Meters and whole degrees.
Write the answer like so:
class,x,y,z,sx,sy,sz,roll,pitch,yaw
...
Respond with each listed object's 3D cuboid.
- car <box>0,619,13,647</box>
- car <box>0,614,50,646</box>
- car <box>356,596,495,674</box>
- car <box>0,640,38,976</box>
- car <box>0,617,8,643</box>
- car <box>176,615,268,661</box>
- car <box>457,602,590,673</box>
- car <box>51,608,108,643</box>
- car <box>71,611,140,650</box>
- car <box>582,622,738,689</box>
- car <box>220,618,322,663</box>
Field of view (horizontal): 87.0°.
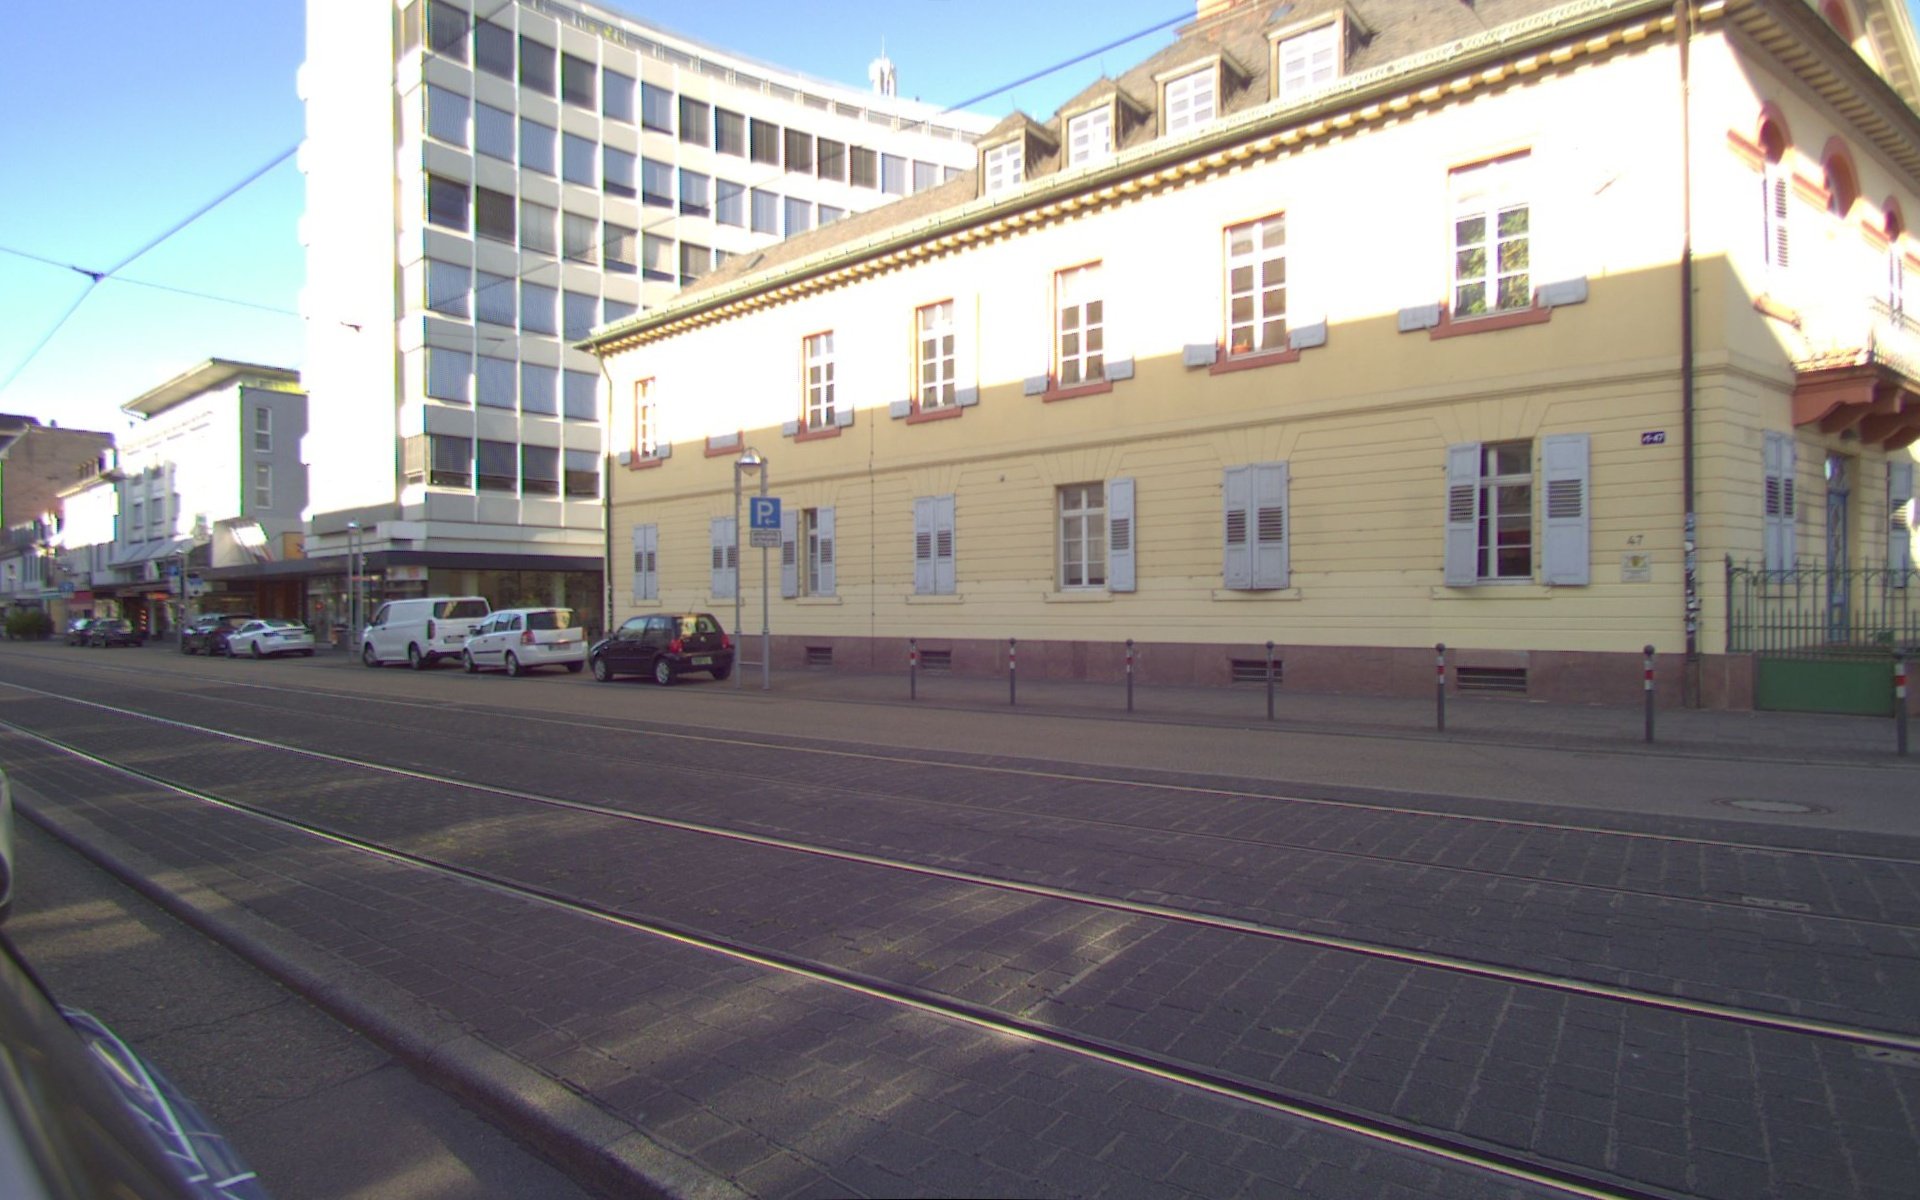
class,x,y,z,sx,sy,sz,roll,pitch,yaw
car,-71.251,2.461,74.384,3.998,2.029,1.973,-1,-1,41
car,-62.970,2.018,67.975,3.996,2.058,2.172,-1,-1,39
car,-15.354,0.970,28.952,4.619,2.029,2.014,-1,-1,41
car,-6.102,0.903,4.765,3.992,1.393,1.862,-1,0,36
car,-78.762,2.451,81.878,3.995,2.029,1.974,-1,0,38
car,-29.918,1.491,40.982,4.103,1.717,1.975,-1,0,38
car,-10.985,0.891,25.345,4.005,1.621,1.619,-1,0,43
car,-50.335,1.451,57.851,3.994,1.896,1.768,-1,-1,38
car,-43.921,1.526,51.989,3.995,1.874,1.974,-1,0,38
car,-6.404,1.128,21.477,3.210,1.263,1.667,-1,0,39
car,-25.643,1.445,37.607,4.369,1.541,1.974,-1,0,39
